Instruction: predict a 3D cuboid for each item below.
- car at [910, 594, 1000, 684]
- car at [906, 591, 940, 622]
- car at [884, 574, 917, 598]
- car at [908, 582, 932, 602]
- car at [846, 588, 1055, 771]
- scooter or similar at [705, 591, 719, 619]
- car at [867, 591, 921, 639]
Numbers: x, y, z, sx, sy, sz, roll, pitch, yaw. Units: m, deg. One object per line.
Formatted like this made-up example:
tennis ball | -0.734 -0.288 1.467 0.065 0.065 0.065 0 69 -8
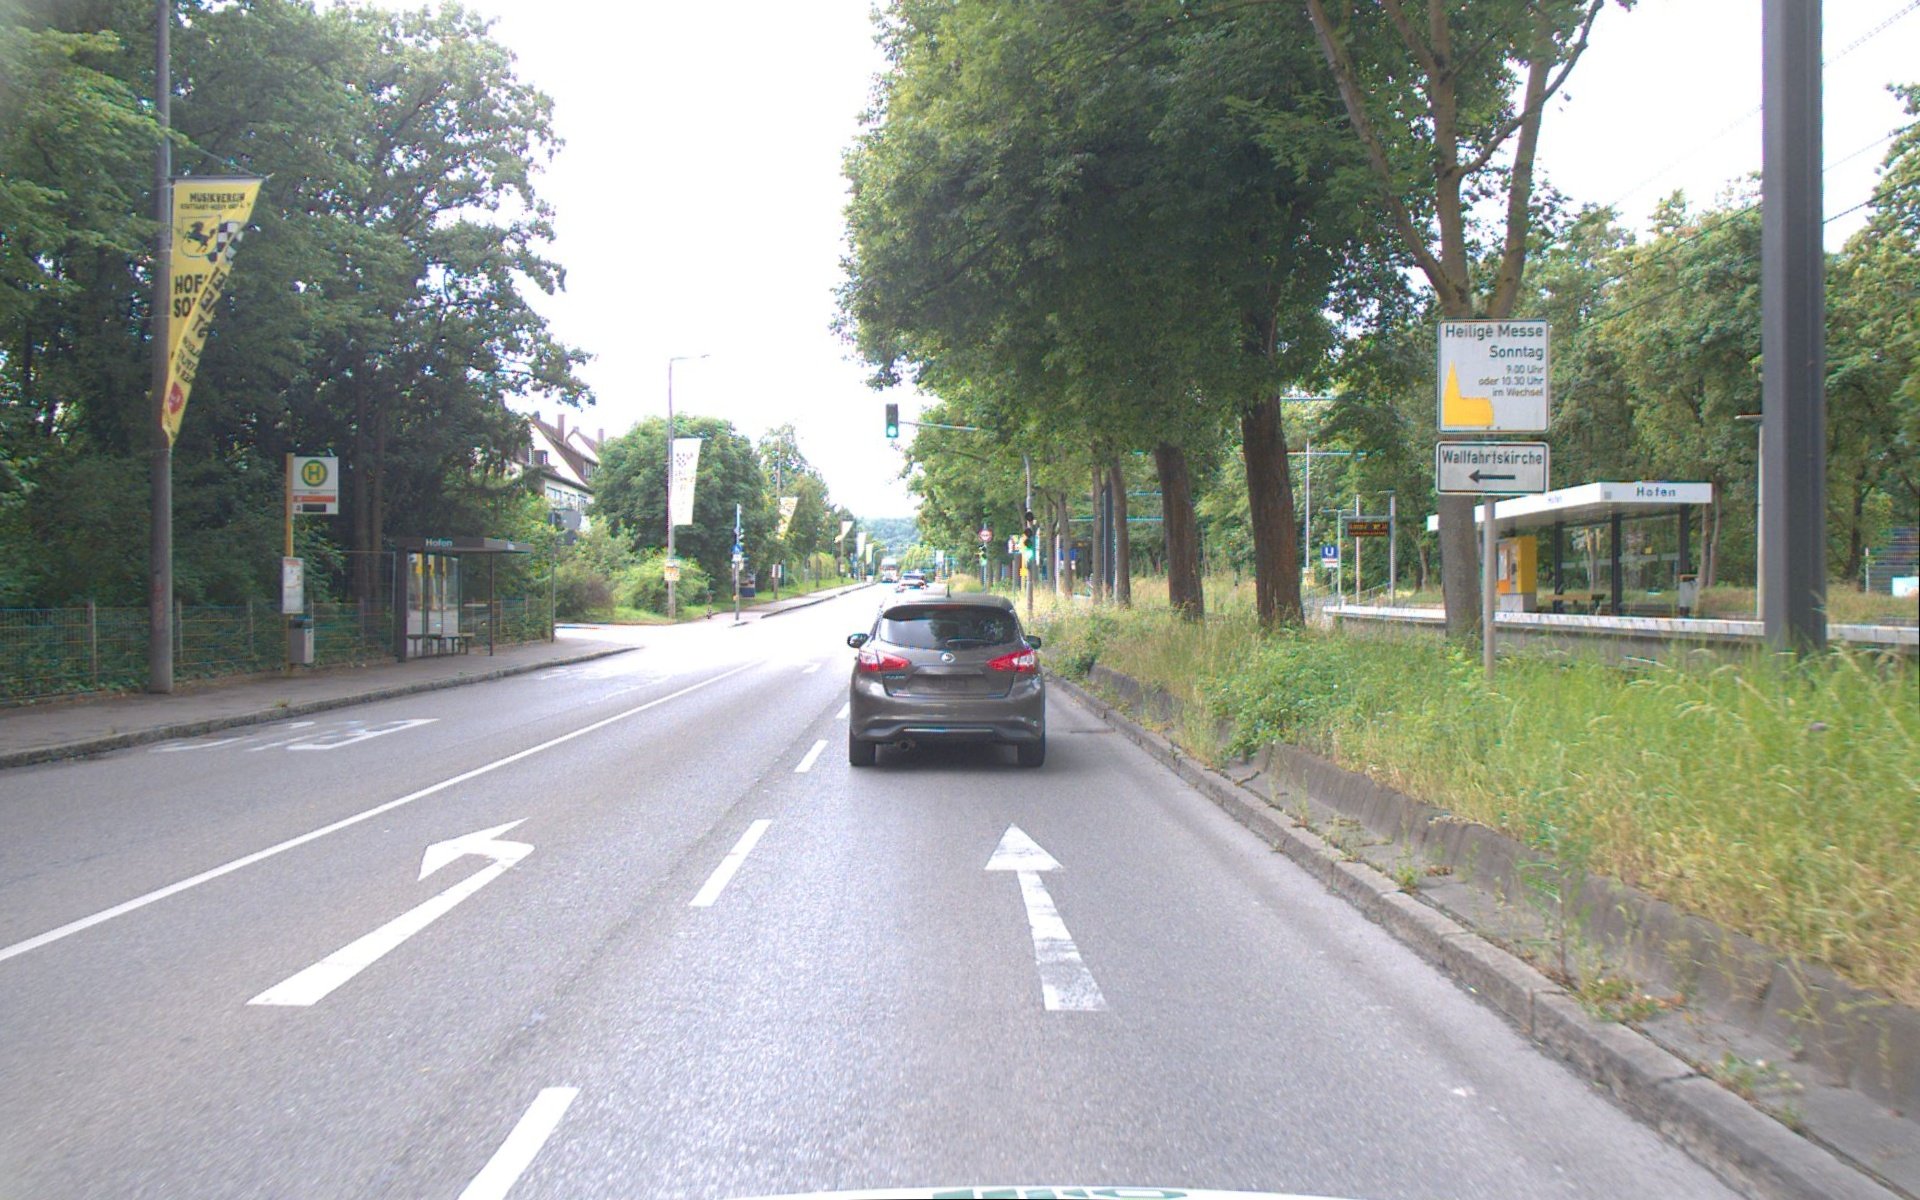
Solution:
car | -0.121 0.636 29.102 1.471 1.466 3.541 0 0 -1
car | -1.839 0.302 81.713 1.657 1.466 3.541 0 0 -1
car | -3.656 -0.857 102.780 1.953 1.344 3.999 2 0 -1
car | -2.930 -0.602 121.108 1.657 1.466 3.541 0 0 -1
car | -0.103 0.661 15.710 1.747 1.533 3.695 0 0 -1
scooter or similar | -11.400 0.209 76.022 0.453 1.281 1.426 0 0 0
car | -2.092 0.458 53.157 1.657 1.466 3.541 0 0 -1
